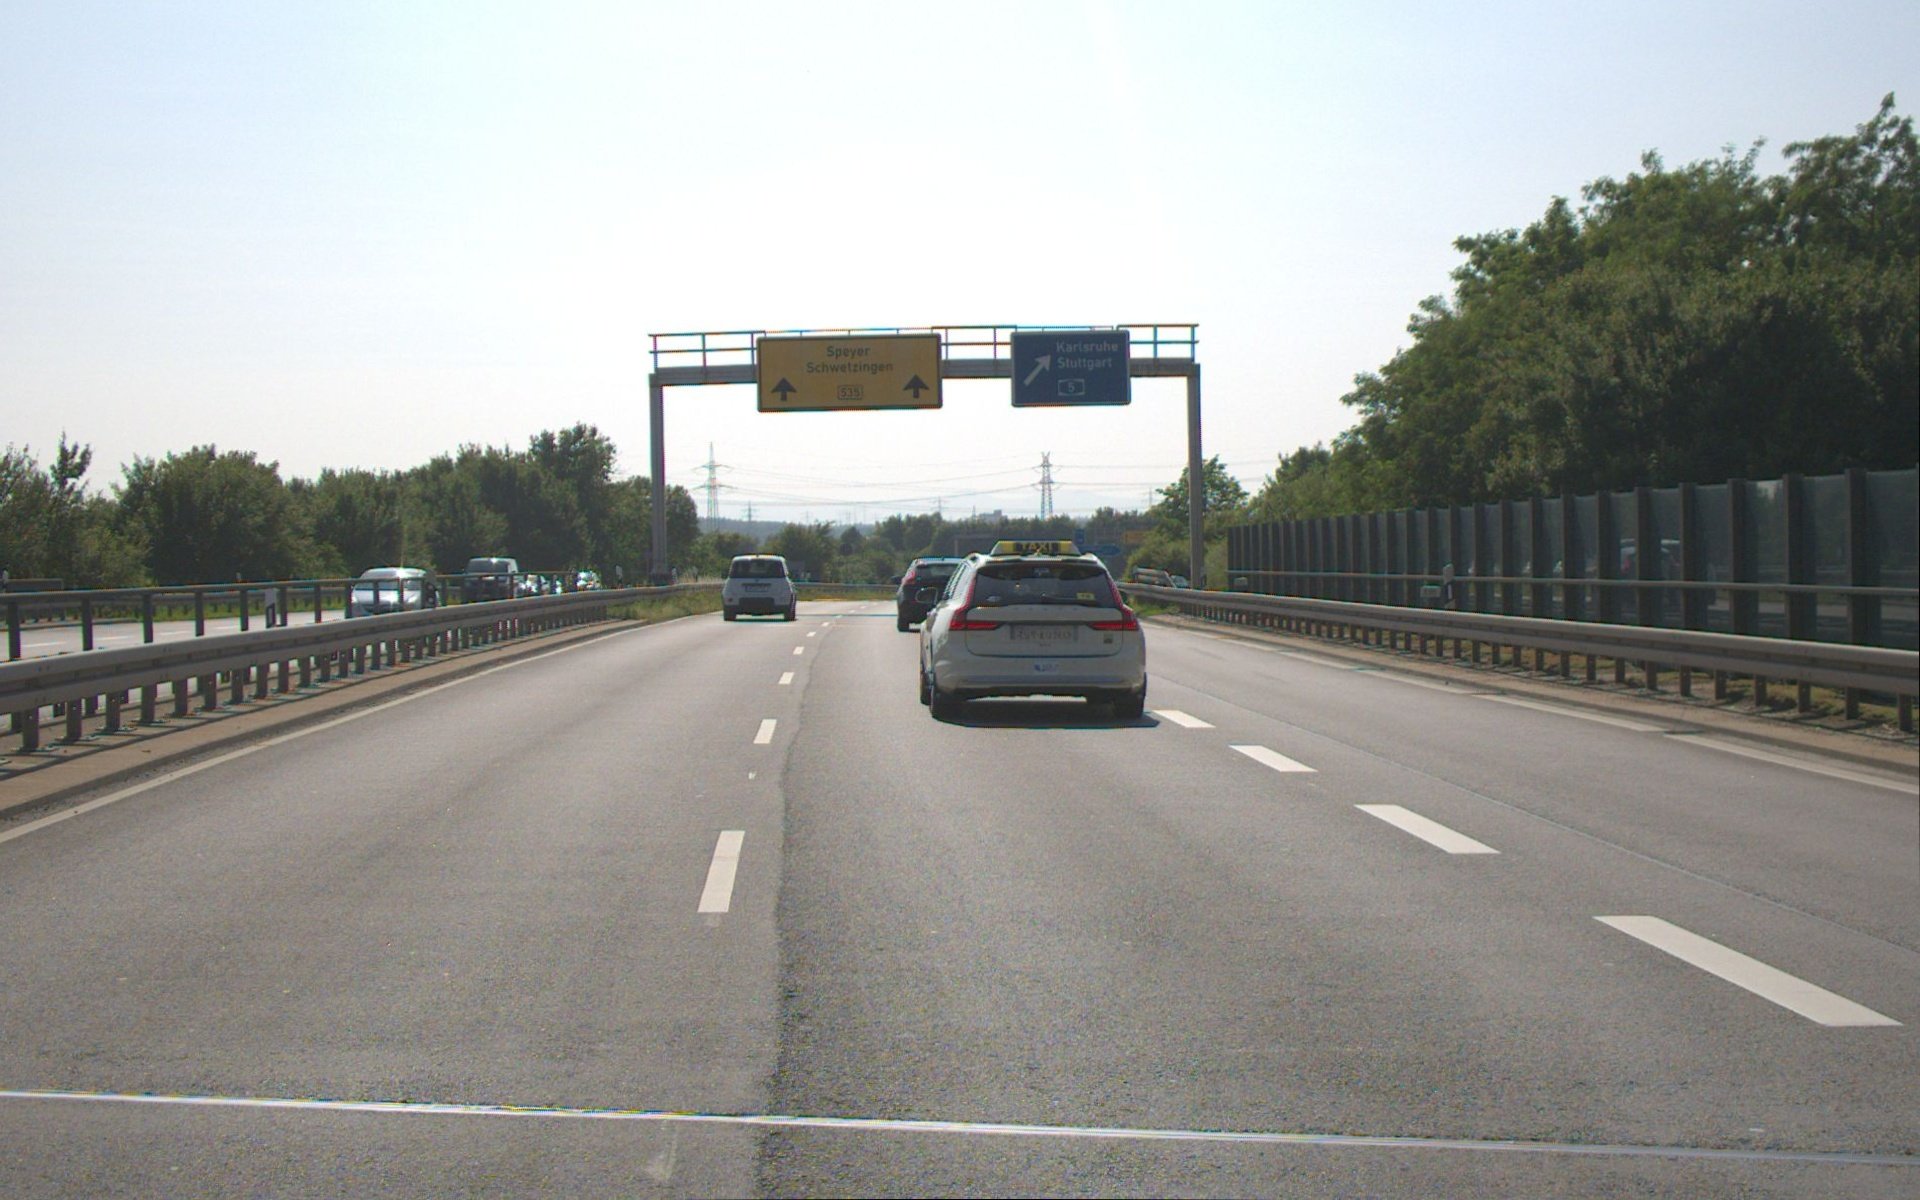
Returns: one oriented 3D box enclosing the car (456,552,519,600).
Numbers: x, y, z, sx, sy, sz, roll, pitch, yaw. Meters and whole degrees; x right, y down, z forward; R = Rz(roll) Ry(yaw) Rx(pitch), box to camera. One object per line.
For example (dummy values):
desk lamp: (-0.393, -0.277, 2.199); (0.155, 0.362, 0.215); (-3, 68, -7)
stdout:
car: (-19.022, -0.969, 138.565); (1.993, 1.899, 4.418); (0, 1, -1)

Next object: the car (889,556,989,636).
car: (-0.440, -0.077, 67.930); (1.793, 1.538, 3.672); (0, 0, -3)

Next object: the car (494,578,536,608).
car: (-19.706, -0.336, 152.373); (1.566, 1.265, 3.716); (0, 1, -2)

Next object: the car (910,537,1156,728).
car: (0.588, 0.240, 31.236); (1.958, 1.596, 4.107); (1, 1, -2)

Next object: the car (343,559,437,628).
car: (-12.225, -0.150, 73.902); (1.551, 1.412, 3.669); (1, 1, -2)

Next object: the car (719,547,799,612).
car: (-4.745, -0.478, 81.453); (1.793, 1.498, 4.043); (0, 0, -2)
